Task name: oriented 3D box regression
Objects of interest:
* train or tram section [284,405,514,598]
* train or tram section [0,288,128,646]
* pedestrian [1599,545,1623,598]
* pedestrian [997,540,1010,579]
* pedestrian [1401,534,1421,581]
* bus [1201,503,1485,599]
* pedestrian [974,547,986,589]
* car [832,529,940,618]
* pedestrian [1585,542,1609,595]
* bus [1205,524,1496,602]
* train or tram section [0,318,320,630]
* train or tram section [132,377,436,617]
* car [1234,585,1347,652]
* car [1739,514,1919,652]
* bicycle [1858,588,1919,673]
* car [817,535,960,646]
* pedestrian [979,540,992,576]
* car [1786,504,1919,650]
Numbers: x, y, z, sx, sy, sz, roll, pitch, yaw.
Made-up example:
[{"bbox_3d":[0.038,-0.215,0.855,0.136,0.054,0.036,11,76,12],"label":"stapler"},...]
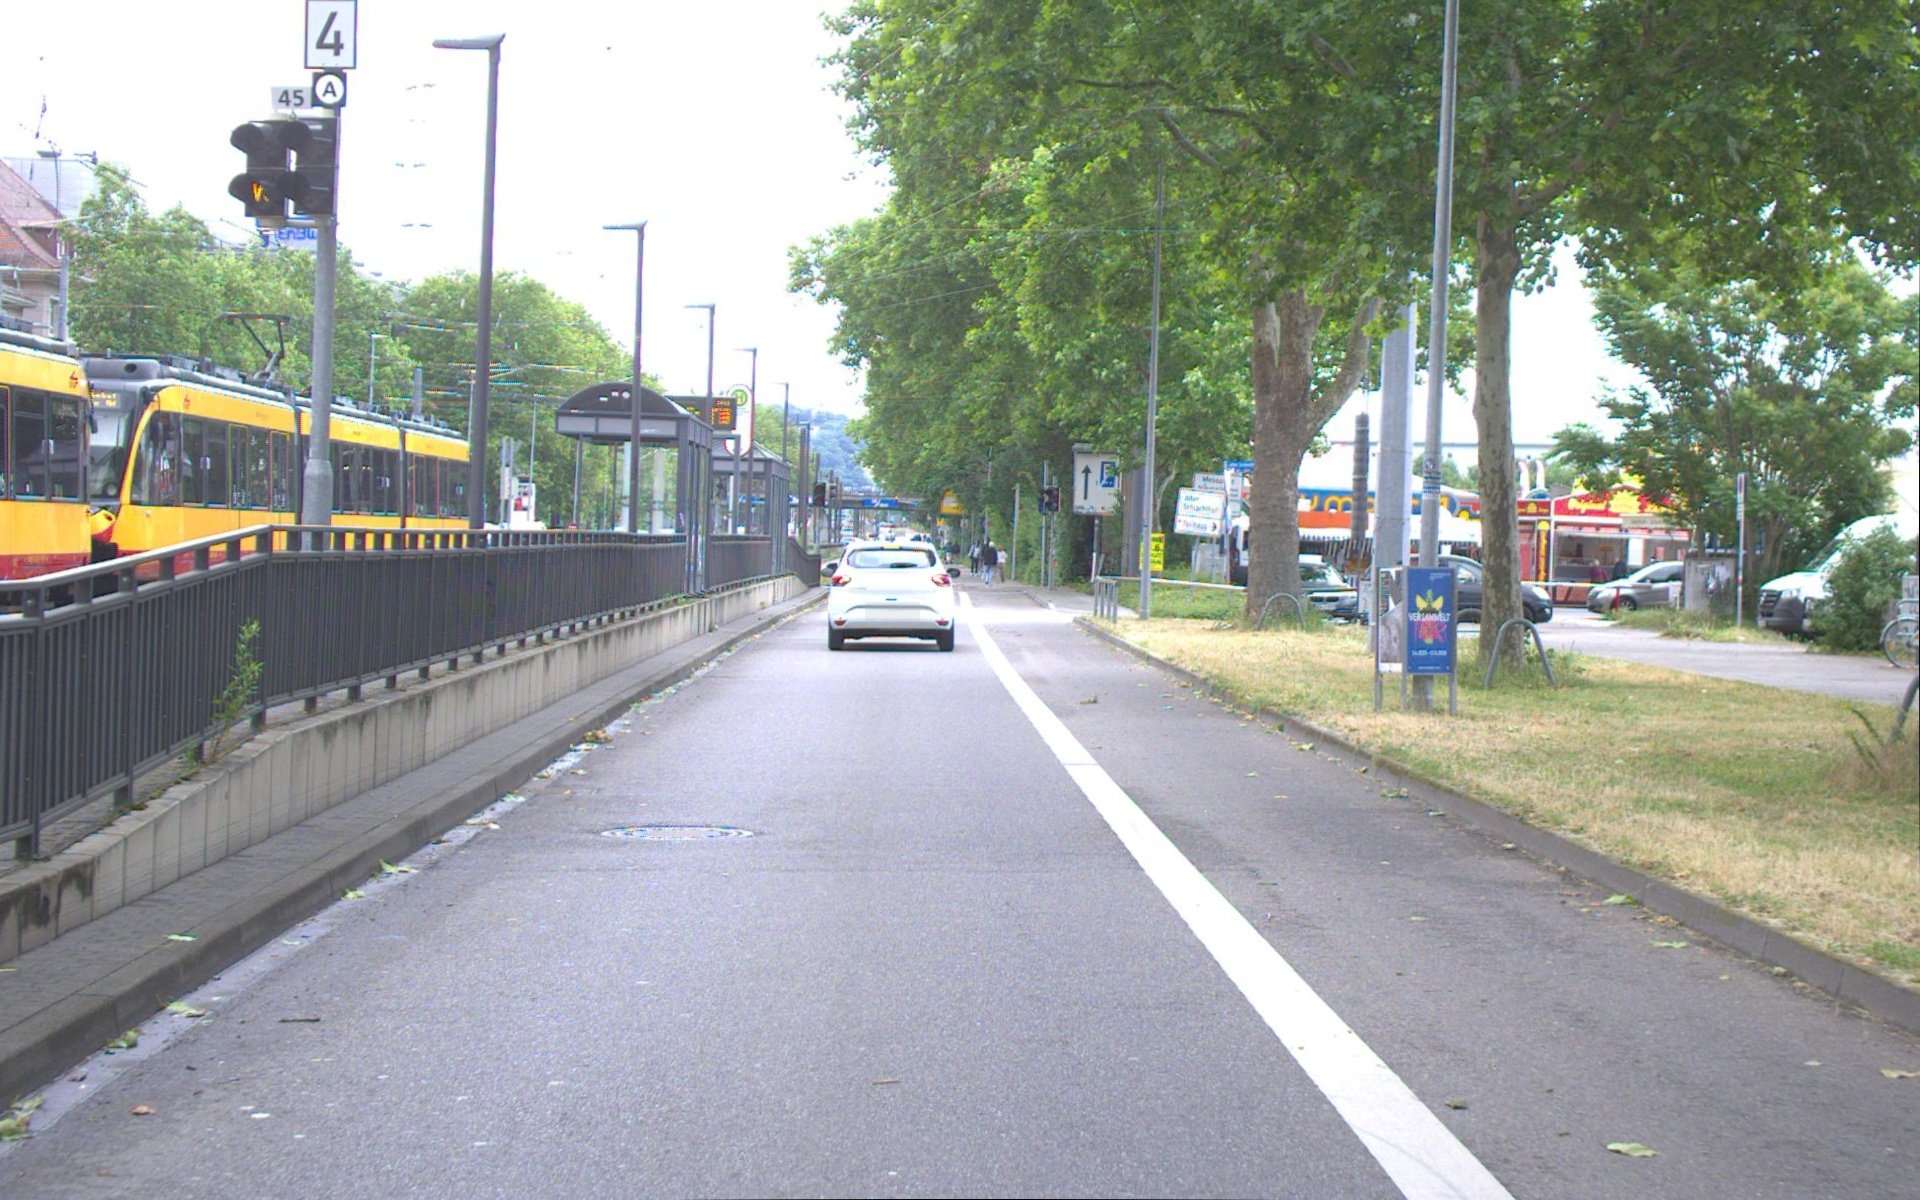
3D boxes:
[{"bbox_3d":[-13.328,-2.225,83.180,3.180,4.164,14.735,2,0,-1],"label":"train or tram section"},{"bbox_3d":[-12.793,-1.584,39.537,3.180,4.164,13.621,2,0,-1],"label":"train or tram section"},{"bbox_3d":[20.732,-0.912,109.534,0.522,1.681,0.494,2,0,-17],"label":"pedestrian"},{"bbox_3d":[1.795,-1.650,140.741,0.396,1.580,0.538,2,0,11],"label":"pedestrian"},{"bbox_3d":[14.107,-1.338,107.480,0.492,1.458,0.524,2,0,-3],"label":"pedestrian"},{"bbox_3d":[12.944,-1.654,116.560,9.276,2.950,2.000,2,0,-3],"label":"bus"},{"bbox_3d":[0.944,-1.515,163.415,0.396,2.007,0.402,2,0,15],"label":"pedestrian"},{"bbox_3d":[-1.329,-0.502,63.483,1.841,1.546,4.000,1,1,0],"label":"car"},{"bbox_3d":[20.215,-1.003,109.170,0.522,1.681,0.494,2,0,-17],"label":"pedestrian"},{"bbox_3d":[12.856,-1.212,113.430,9.276,2.220,2.000,2,0,-3],"label":"bus"},{"bbox_3d":[-12.948,-1.778,53.760,3.180,4.164,14.735,2,0,-1],"label":"train or tram section"},{"bbox_3d":[-13.146,-1.888,68.504,3.180,4.164,14.735,2,0,-1],"label":"train or tram section"},{"bbox_3d":[7.656,0.409,79.891,1.862,1.425,4.001,2,0,-5],"label":"car"},{"bbox_3d":[18.442,-0.278,66.798,6.022,2.547,2.100,2,0,-2],"label":"car"},{"bbox_3d":[12.588,0.391,44.222,1.921,1.087,0.550,0,0,-2],"label":"bicycle"},{"bbox_3d":[-0.983,-0.142,48.441,1.885,1.448,4.000,2,0,0],"label":"car"},{"bbox_3d":[1.032,-1.710,140.708,0.396,1.439,0.563,2,0,12],"label":"pedestrian"},{"bbox_3d":[18.459,-0.295,63.373,5.785,2.527,2.040,4,0,-1],"label":"car"}]
